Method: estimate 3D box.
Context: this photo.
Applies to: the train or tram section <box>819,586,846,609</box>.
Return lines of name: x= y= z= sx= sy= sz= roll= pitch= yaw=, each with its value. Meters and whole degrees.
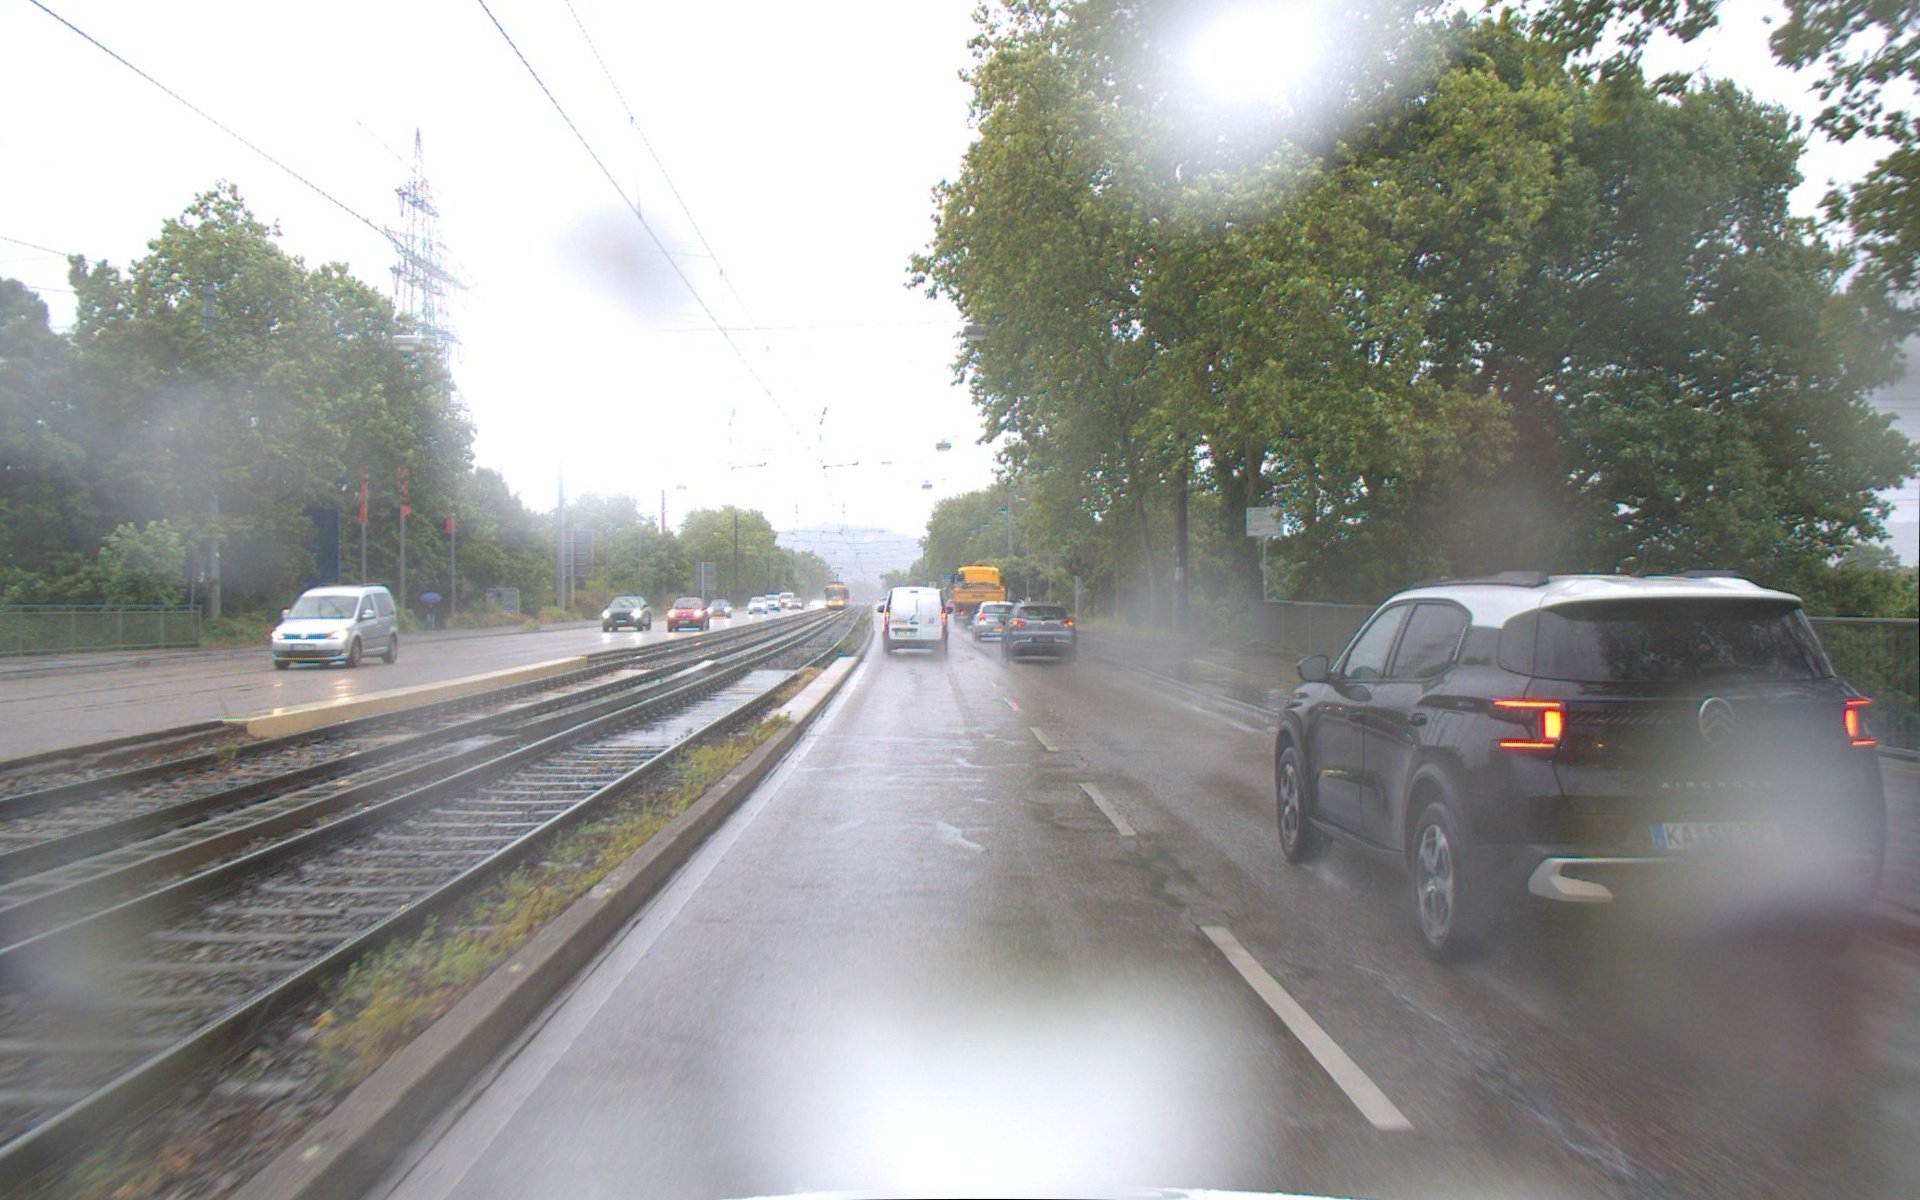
train or tram section: x=-17.182 y=-0.421 z=223.042 sx=2.792 sy=2.944 sz=14.004 roll=-1 pitch=1 yaw=-1

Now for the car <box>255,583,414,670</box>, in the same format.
car: x=-14.027 y=0.543 z=37.401 sx=1.953 sy=1.847 sz=4.657 roll=0 pitch=0 yaw=-2

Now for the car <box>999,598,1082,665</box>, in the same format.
car: x=1.911 y=0.727 z=40.211 sx=1.781 sy=1.438 sz=3.778 roll=1 pitch=1 yaw=-1

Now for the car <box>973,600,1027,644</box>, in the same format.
car: x=1.413 y=0.764 z=59.990 sx=1.781 sy=1.438 sz=3.778 roll=1 pitch=1 yaw=-1

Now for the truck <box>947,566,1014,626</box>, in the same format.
truck: x=0.942 y=-0.238 z=82.228 sx=3.050 sy=2.821 sz=6.327 roll=1 pitch=1 yaw=-2

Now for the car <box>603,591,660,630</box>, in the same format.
car: x=-15.804 y=0.485 z=79.840 sx=1.953 sy=1.847 sz=4.000 roll=0 pitch=0 yaw=0

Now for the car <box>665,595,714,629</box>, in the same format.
car: x=-12.570 y=0.550 z=77.053 sx=1.623 sy=1.512 sz=4.013 roll=0 pitch=0 yaw=0

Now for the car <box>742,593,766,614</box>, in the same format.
car: x=-20.472 y=0.344 z=164.505 sx=1.953 sy=1.937 sz=4.000 roll=1 pitch=0 yaw=0

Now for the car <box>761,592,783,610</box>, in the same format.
car: x=-21.140 y=0.095 z=186.328 sx=1.953 sy=1.937 sz=4.000 roll=1 pitch=0 yaw=0

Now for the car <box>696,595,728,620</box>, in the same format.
car: x=-19.806 y=0.590 z=132.218 sx=1.953 sy=1.937 sz=4.000 roll=1 pitch=0 yaw=0

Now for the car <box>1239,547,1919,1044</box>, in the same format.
car: x=2.837 y=0.655 z=8.218 sx=1.861 sy=1.746 sz=4.723 roll=1 pitch=1 yaw=-3

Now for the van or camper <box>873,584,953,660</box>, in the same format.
van or camper: x=-1.316 y=0.545 z=44.547 sx=1.954 sy=1.815 sz=3.997 roll=1 pitch=1 yaw=-4
